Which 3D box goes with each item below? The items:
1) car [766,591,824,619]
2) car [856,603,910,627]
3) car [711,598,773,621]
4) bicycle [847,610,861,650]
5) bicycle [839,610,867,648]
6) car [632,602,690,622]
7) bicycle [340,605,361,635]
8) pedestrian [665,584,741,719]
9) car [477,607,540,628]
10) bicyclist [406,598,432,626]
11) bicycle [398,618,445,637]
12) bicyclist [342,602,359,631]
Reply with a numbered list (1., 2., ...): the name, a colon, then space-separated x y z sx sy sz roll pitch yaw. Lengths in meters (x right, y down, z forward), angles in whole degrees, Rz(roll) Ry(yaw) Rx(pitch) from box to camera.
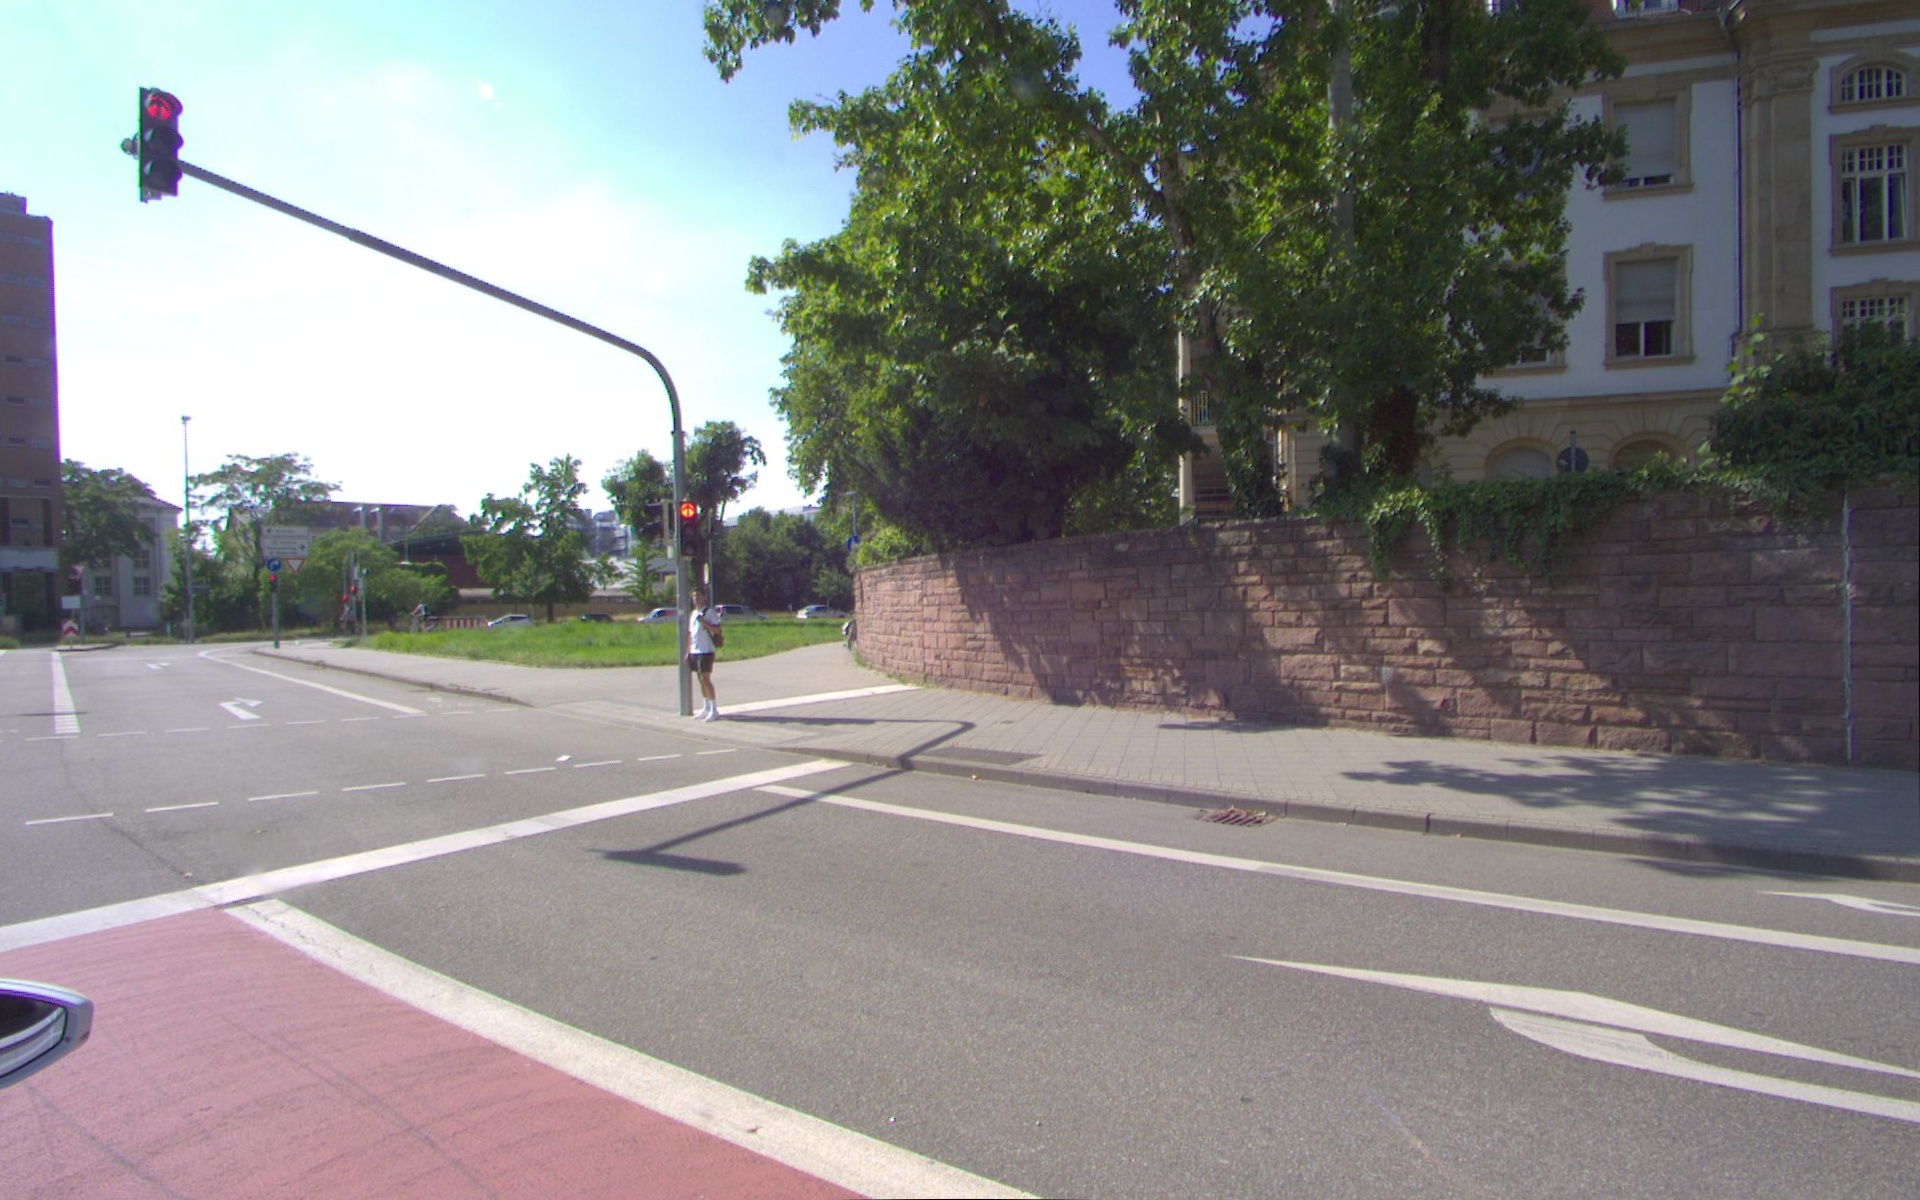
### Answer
1. car: -12.713 0.429 77.270 3.950 2.039 1.987 1 -2 -35
2. car: -6.043 1.189 78.438 3.964 1.525 1.737 7 -7 -42
3. car: -15.495 0.647 71.174 3.958 1.528 1.736 -2 1 -42
4. bicycle: -3.137 0.877 29.698 0.342 1.138 1.434 -1 1 -8
5. bicycle: -3.378 0.898 31.422 0.344 1.138 1.428 -2 1 -28
6. car: -25.211 1.027 84.594 4.279 1.590 1.892 -1 1 -43
7. bicycle: -36.536 1.195 60.015 0.673 1.789 1.794 -2 1 -42
8. pedestrian: -3.745 0.733 14.619 0.784 1.900 0.650 0 3 29
9. car: -34.585 1.352 76.794 3.958 1.483 1.982 -1 -1 -43
10. bicyclist: -28.311 0.631 52.426 1.120 1.489 0.496 0 -1 5
11. bicycle: -28.201 1.455 52.468 2.127 0.928 0.674 -1 1 5
12. bicyclist: -36.529 0.991 59.994 0.673 1.677 0.910 -2 1 -42
